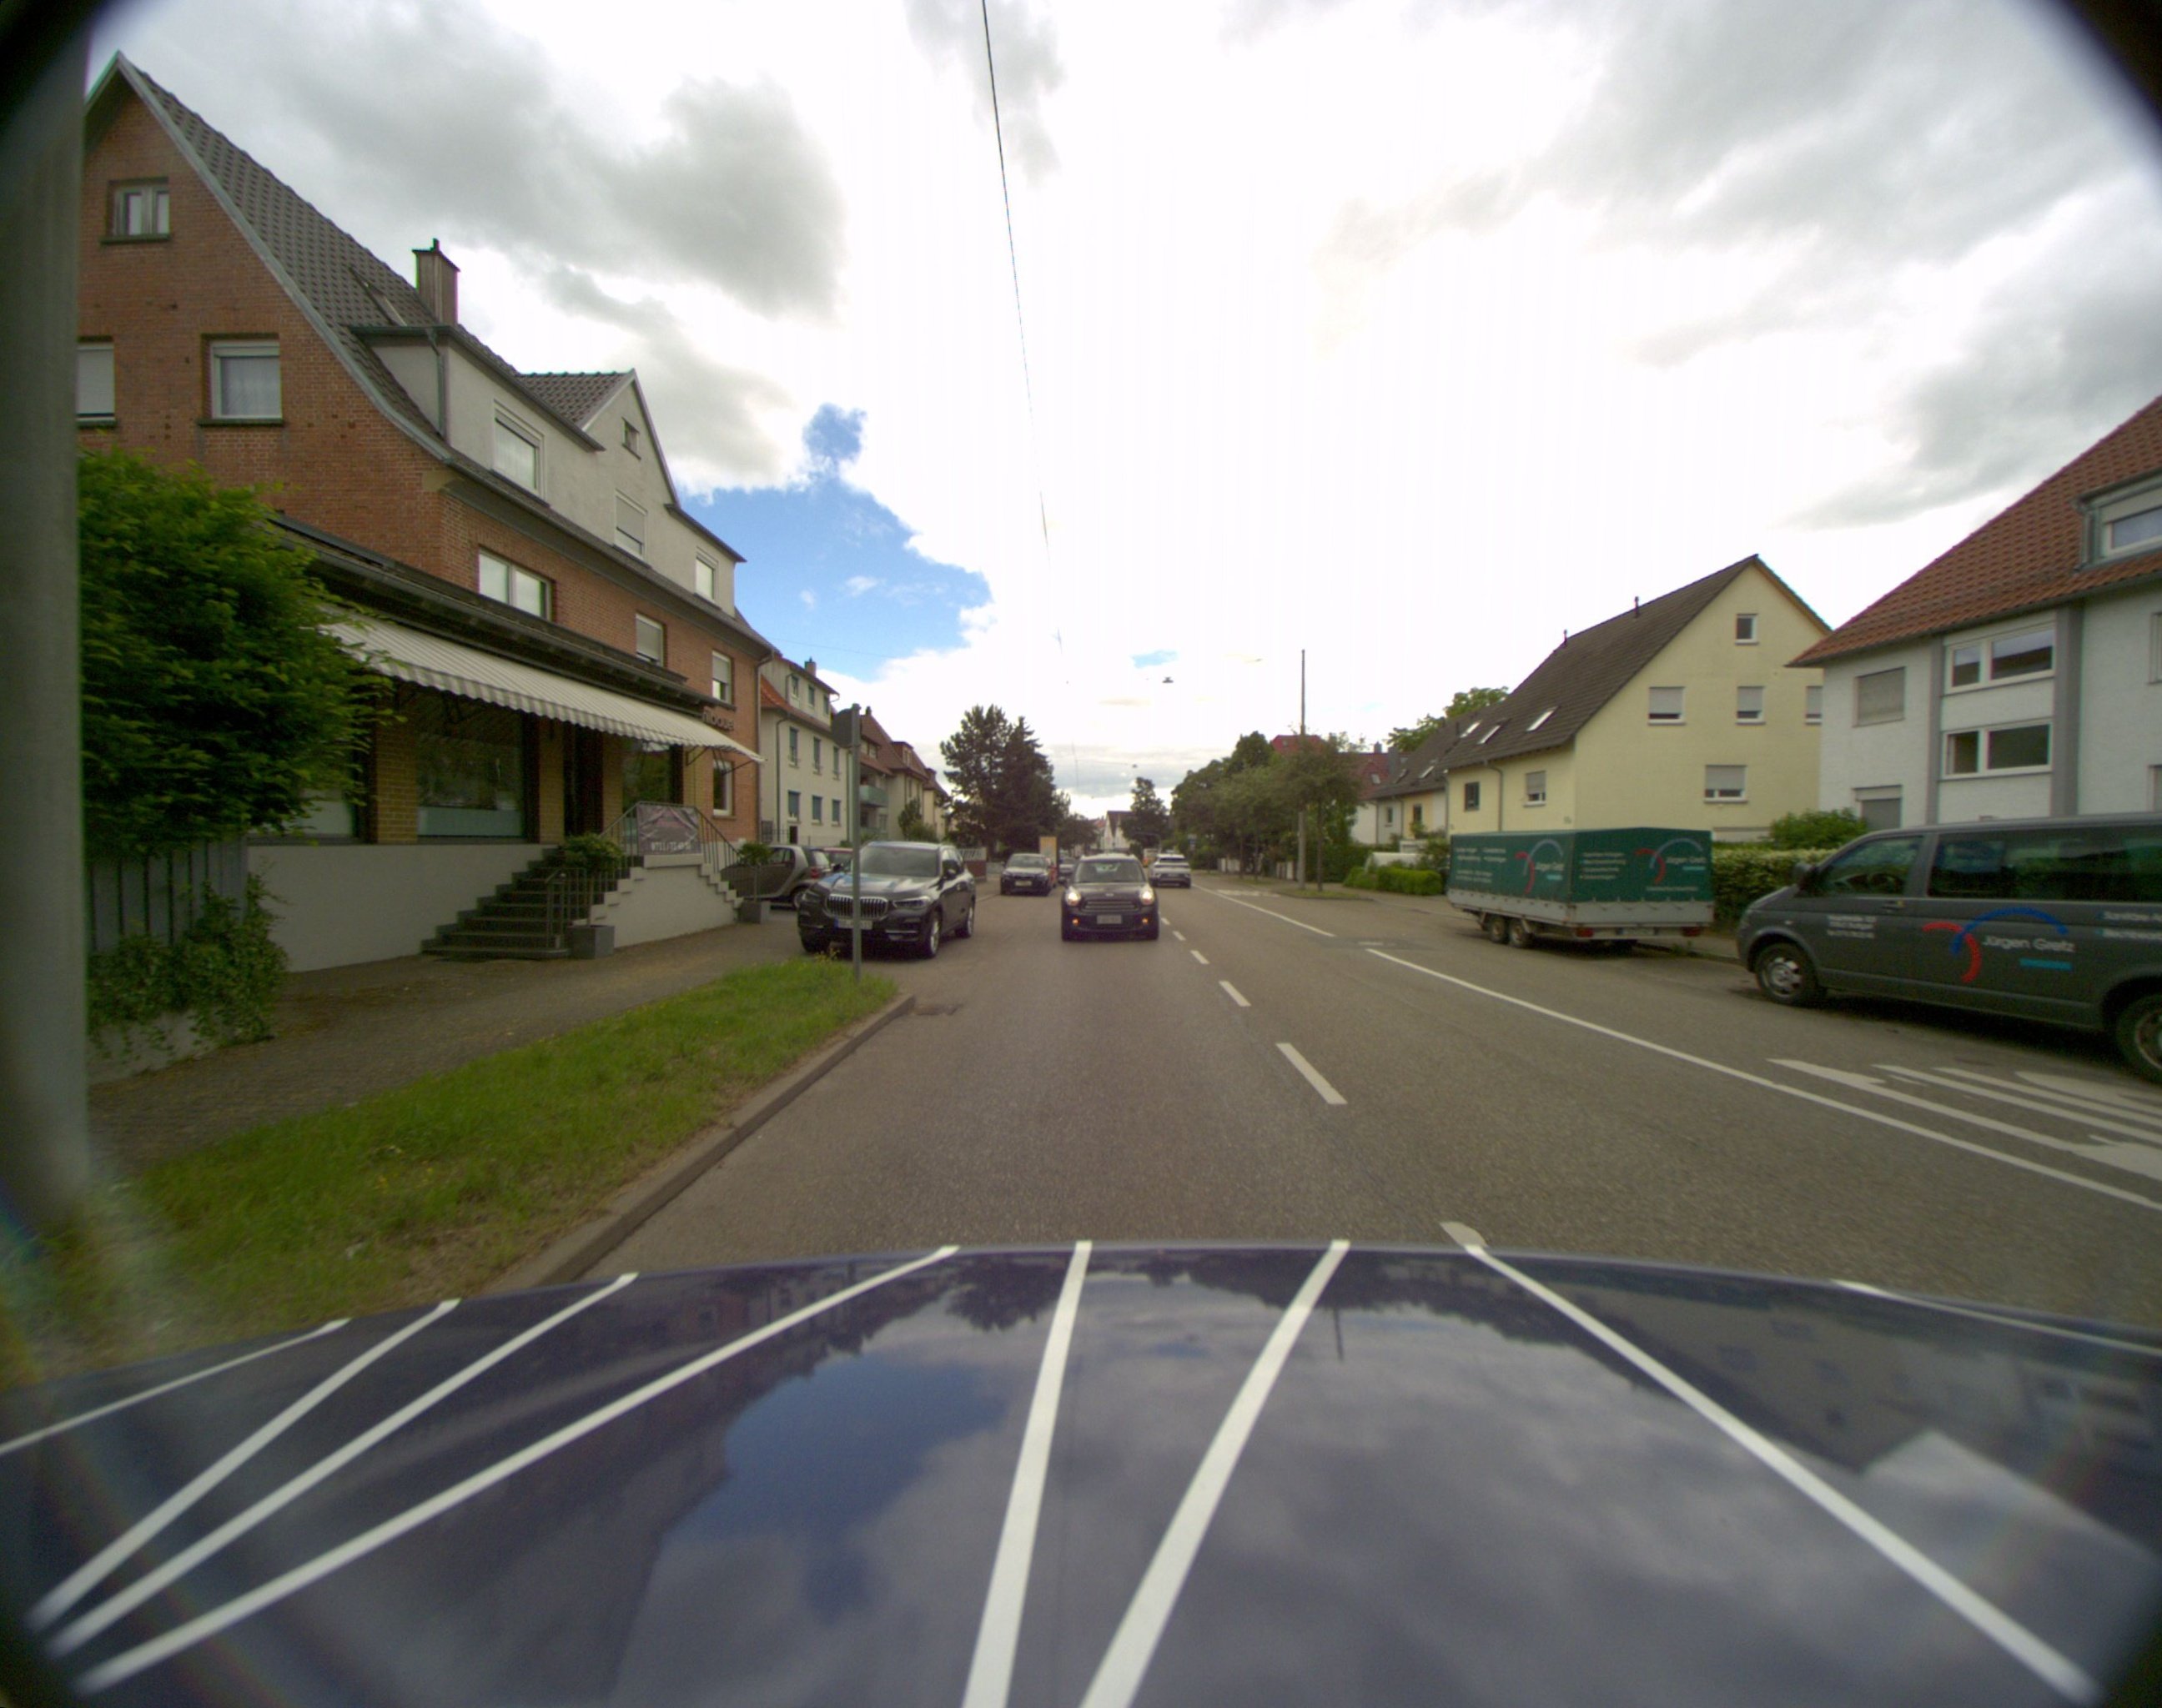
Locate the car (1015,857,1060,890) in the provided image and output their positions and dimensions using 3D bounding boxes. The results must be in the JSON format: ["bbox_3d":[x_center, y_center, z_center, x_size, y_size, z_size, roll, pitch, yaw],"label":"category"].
[{"bbox_3d":[-1.934,0.853,34.660,1.680,1.414,3.685,0,0,2],"label":"car"}]

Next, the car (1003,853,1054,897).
[{"bbox_3d":[-2.003,0.775,30.104,1.728,1.582,4.156,1,0,0],"label":"car"}]

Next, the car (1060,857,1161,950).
[{"bbox_3d":[0.576,0.859,14.914,1.743,1.573,3.685,0,0,2],"label":"car"}]

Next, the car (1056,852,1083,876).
[{"bbox_3d":[-0.771,0.652,53.022,1.680,1.573,3.685,0,0,2],"label":"car"}]

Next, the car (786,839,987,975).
[{"bbox_3d":[-2.986,0.716,12.889,1.902,1.826,4.915,1,0,3],"label":"car"}]

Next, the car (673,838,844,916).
[{"bbox_3d":[-7.620,0.519,18.200,3.361,1.624,1.579,3,0,-3],"label":"car"}]

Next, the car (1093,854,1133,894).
[{"bbox_3d":[1.348,0.796,32.458,1.590,1.598,3.685,0,0,2],"label":"car"}]

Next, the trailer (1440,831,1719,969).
[{"bbox_3d":[8.584,0.689,13.703,2.160,2.076,4.425,0,0,1],"label":"trailer"}]

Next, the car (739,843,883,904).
[{"bbox_3d":[-7.415,0.519,21.136,3.362,1.450,1.748,3,0,-6],"label":"car"}]

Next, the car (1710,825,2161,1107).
[{"bbox_3d":[8.447,0.765,6.572,1.998,1.938,4.898,0,0,1],"label":"car"}]

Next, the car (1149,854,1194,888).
[{"bbox_3d":[4.392,0.784,37.317,1.825,1.594,4.299,0,0,2],"label":"car"}]

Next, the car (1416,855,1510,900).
[{"bbox_3d":[14.292,0.829,28.676,1.752,1.513,3.916,2,0,4],"label":"car"}]
